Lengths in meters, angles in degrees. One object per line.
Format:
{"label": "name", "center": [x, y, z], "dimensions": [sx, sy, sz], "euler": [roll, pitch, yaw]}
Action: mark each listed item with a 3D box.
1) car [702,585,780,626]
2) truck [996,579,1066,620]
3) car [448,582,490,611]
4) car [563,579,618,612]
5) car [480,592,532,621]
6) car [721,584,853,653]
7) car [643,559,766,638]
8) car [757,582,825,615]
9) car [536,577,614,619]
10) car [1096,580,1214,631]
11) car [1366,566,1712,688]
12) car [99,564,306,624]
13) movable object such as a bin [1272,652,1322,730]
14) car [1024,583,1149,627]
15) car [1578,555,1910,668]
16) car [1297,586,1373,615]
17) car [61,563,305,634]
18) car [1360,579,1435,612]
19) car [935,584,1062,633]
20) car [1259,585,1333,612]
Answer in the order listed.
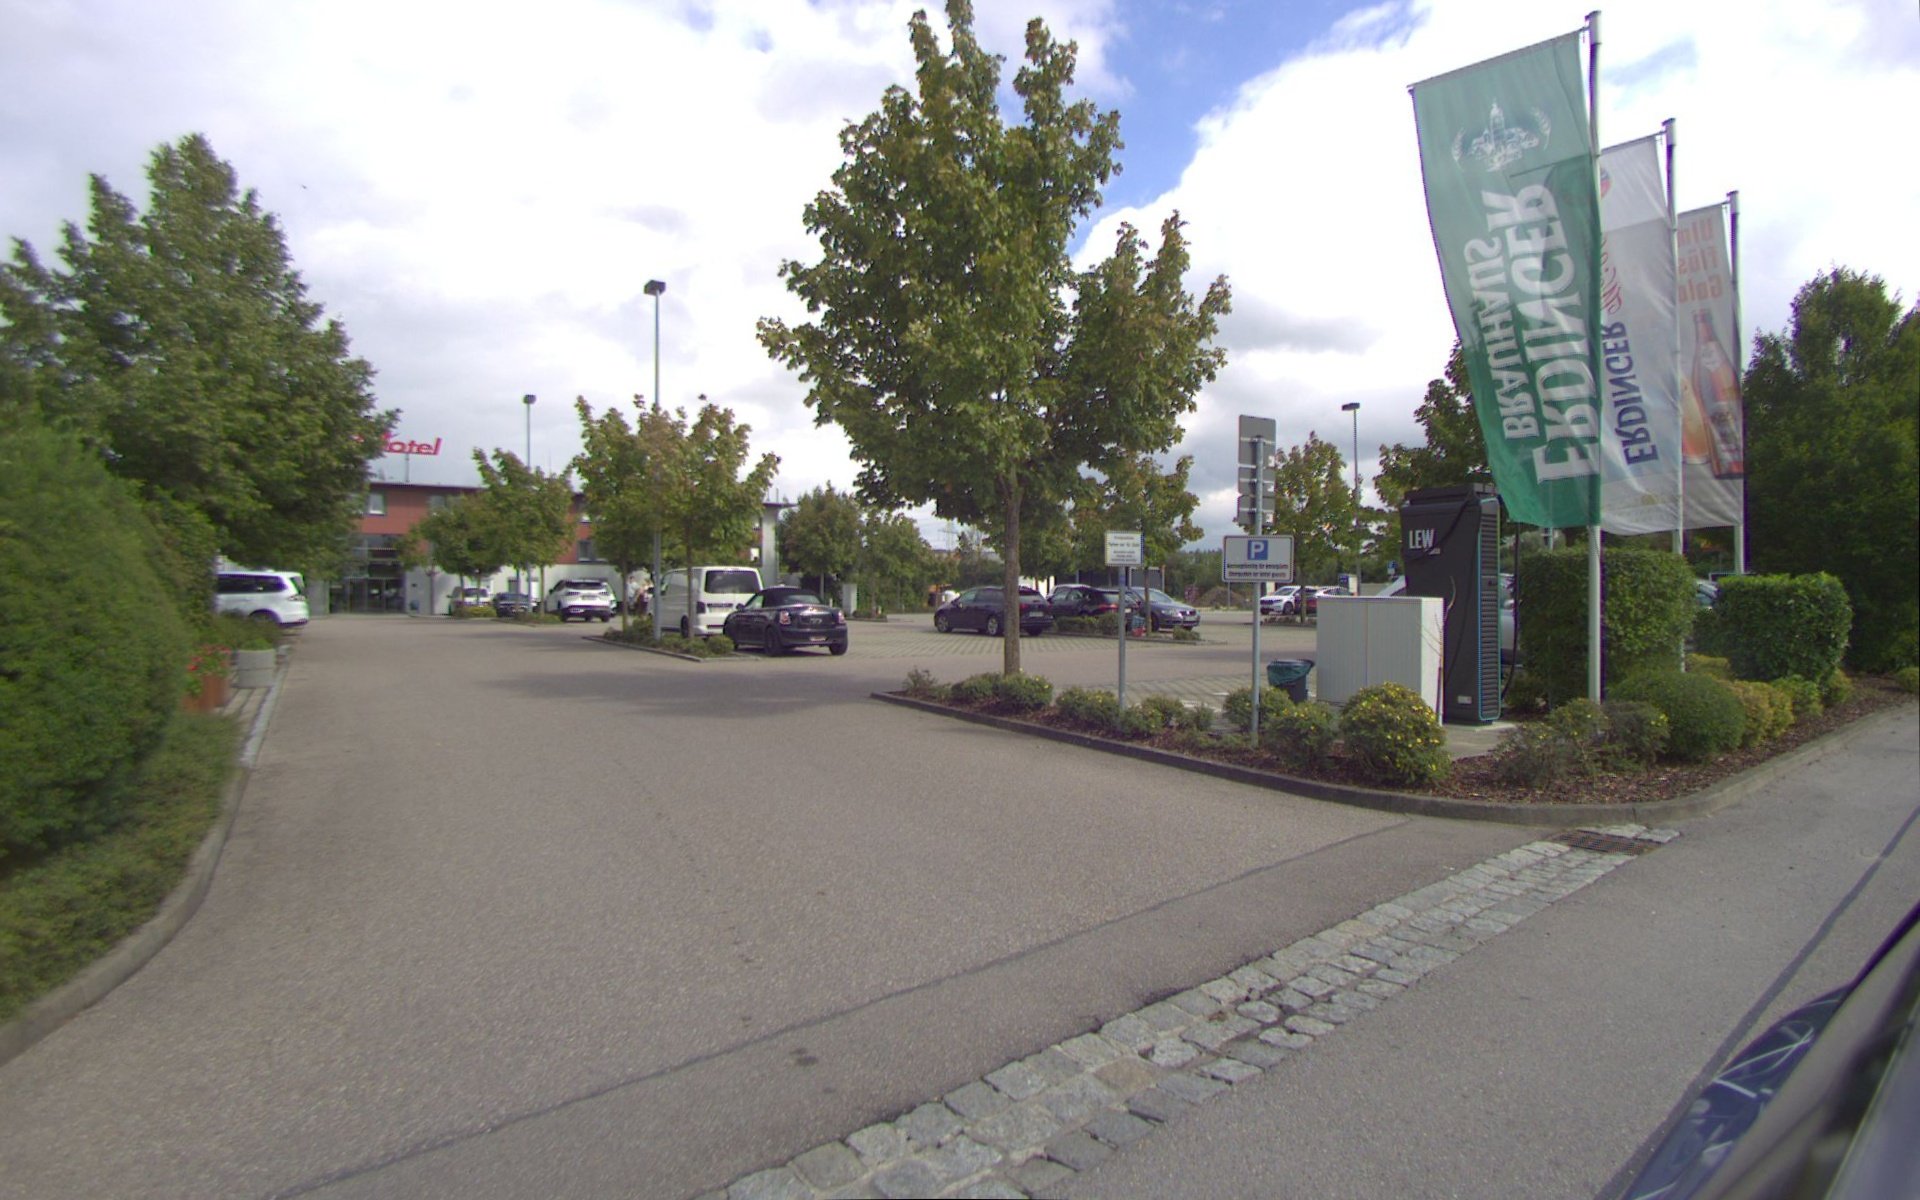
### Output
{"label": "car", "center": [-9.293, 0.220, 42.836], "dimensions": [1.734, 1.677, 3.998], "euler": [0, 0, -37]}
{"label": "truck", "center": [7.431, -0.058, 105.317], "dimensions": [8.401, 4.173, 1.996], "euler": [0, 0, -41]}
{"label": "car", "center": [-30.760, -0.213, 63.379], "dimensions": [1.643, 1.804, 3.998], "euler": [0, 0, -37]}
{"label": "car", "center": [-20.463, -0.223, 55.963], "dimensions": [1.734, 1.742, 3.998], "euler": [0, 0, -37]}
{"label": "car", "center": [-23.755, 0.342, 52.891], "dimensions": [1.643, 1.447, 3.998], "euler": [0, 0, -37]}
{"label": "car", "center": [-3.799, 0.361, 21.818], "dimensions": [1.598, 1.368, 3.373], "euler": [0, 0, -33]}
{"label": "car", "center": [-6.642, -0.029, 25.984], "dimensions": [1.733, 1.845, 4.368], "euler": [0, 0, -33]}
{"label": "car", "center": [-7.426, -0.072, 44.285], "dimensions": [1.500, 1.391, 3.476], "euler": [0, 0, -37]}
{"label": "car", "center": [-14.796, -0.061, 38.772], "dimensions": [1.790, 1.519, 3.844], "euler": [0, 0, -37]}
{"label": "car", "center": [6.471, 0.184, 34.020], "dimensions": [1.958, 1.591, 4.007], "euler": [0, 0, -24]}
{"label": "car", "center": [9.318, 0.307, 16.760], "dimensions": [1.880, 1.717, 4.686], "euler": [-1, 2, -29]}
{"label": "car", "center": [-23.116, -0.172, 31.141], "dimensions": [4.981, 1.733, 1.598], "euler": [0, 0, -35]}
{"label": "movable object such as a bin", "center": [3.171, 0.849, 9.528], "dimensions": [0.360, 0.693, 0.289], "euler": [0, -1, -30]}
{"label": "car", "center": [4.053, 0.150, 32.985], "dimensions": [1.688, 1.363, 4.278], "euler": [0, 0, -33]}
{"label": "car", "center": [13.636, 0.182, 17.897], "dimensions": [1.625, 1.738, 4.365], "euler": [0, 0, -33]}
{"label": "car", "center": [20.692, 0.031, 55.791], "dimensions": [3.917, 1.538, 1.609], "euler": [0, 0, -24]}
{"label": "car", "center": [-20.311, -0.026, 26.772], "dimensions": [4.981, 1.733, 1.750], "euler": [0, 0, -35]}
{"label": "car", "center": [23.093, -0.233, 53.355], "dimensions": [3.922, 1.635, 1.723], "euler": [0, 0, -32]}
{"label": "car", "center": [1.077, 0.245, 30.677], "dimensions": [1.688, 1.363, 4.278], "euler": [0, 0, -33]}
{"label": "car", "center": [19.250, -0.094, 57.977], "dimensions": [3.917, 1.538, 1.719], "euler": [0, 0, -24]}
